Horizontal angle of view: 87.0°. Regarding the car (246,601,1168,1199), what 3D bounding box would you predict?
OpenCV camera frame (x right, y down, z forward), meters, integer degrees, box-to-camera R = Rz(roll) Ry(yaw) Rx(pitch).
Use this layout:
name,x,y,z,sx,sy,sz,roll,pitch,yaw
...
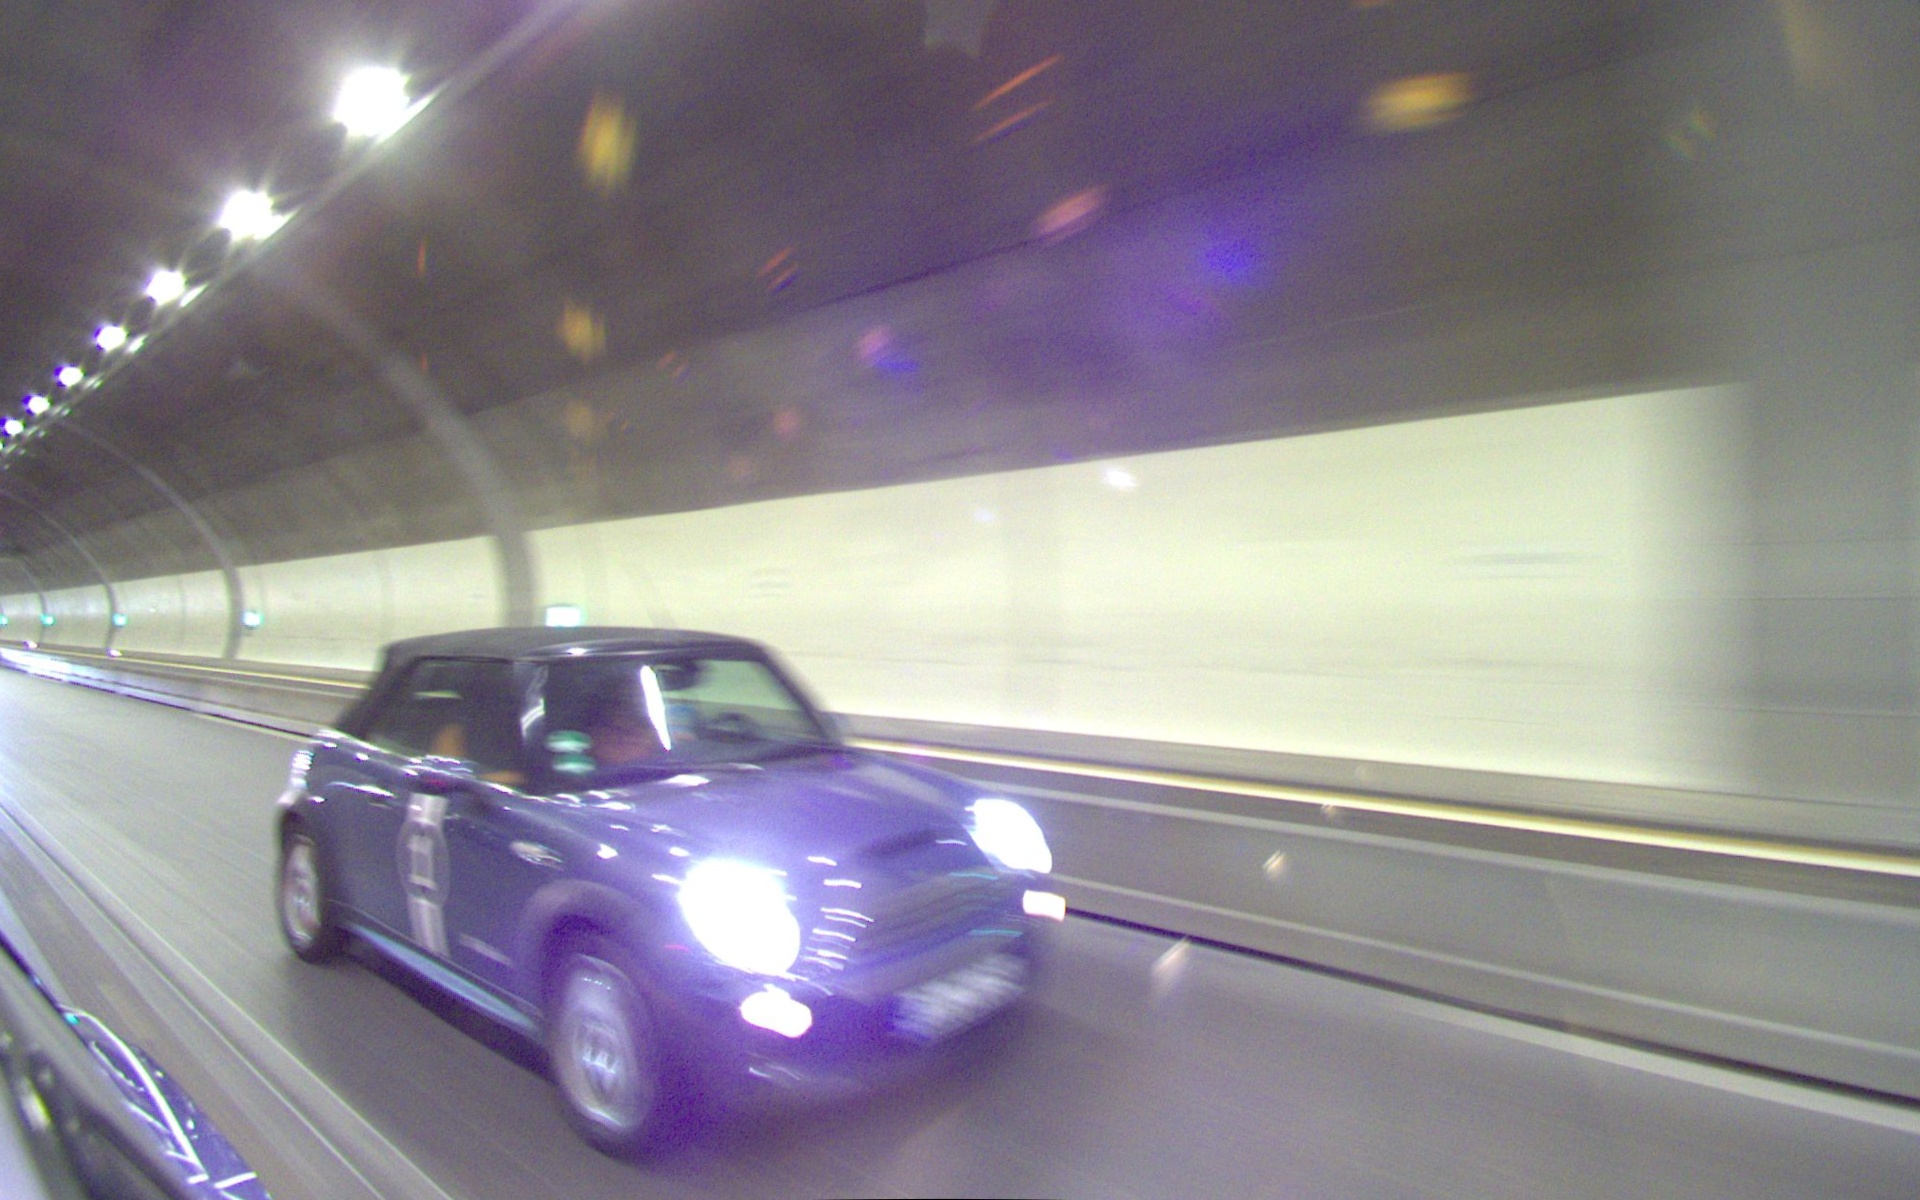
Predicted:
name,x,y,z,sx,sy,sz,roll,pitch,yaw
car,-1.324,0.757,4.085,3.921,1.428,1.671,-1,0,41
